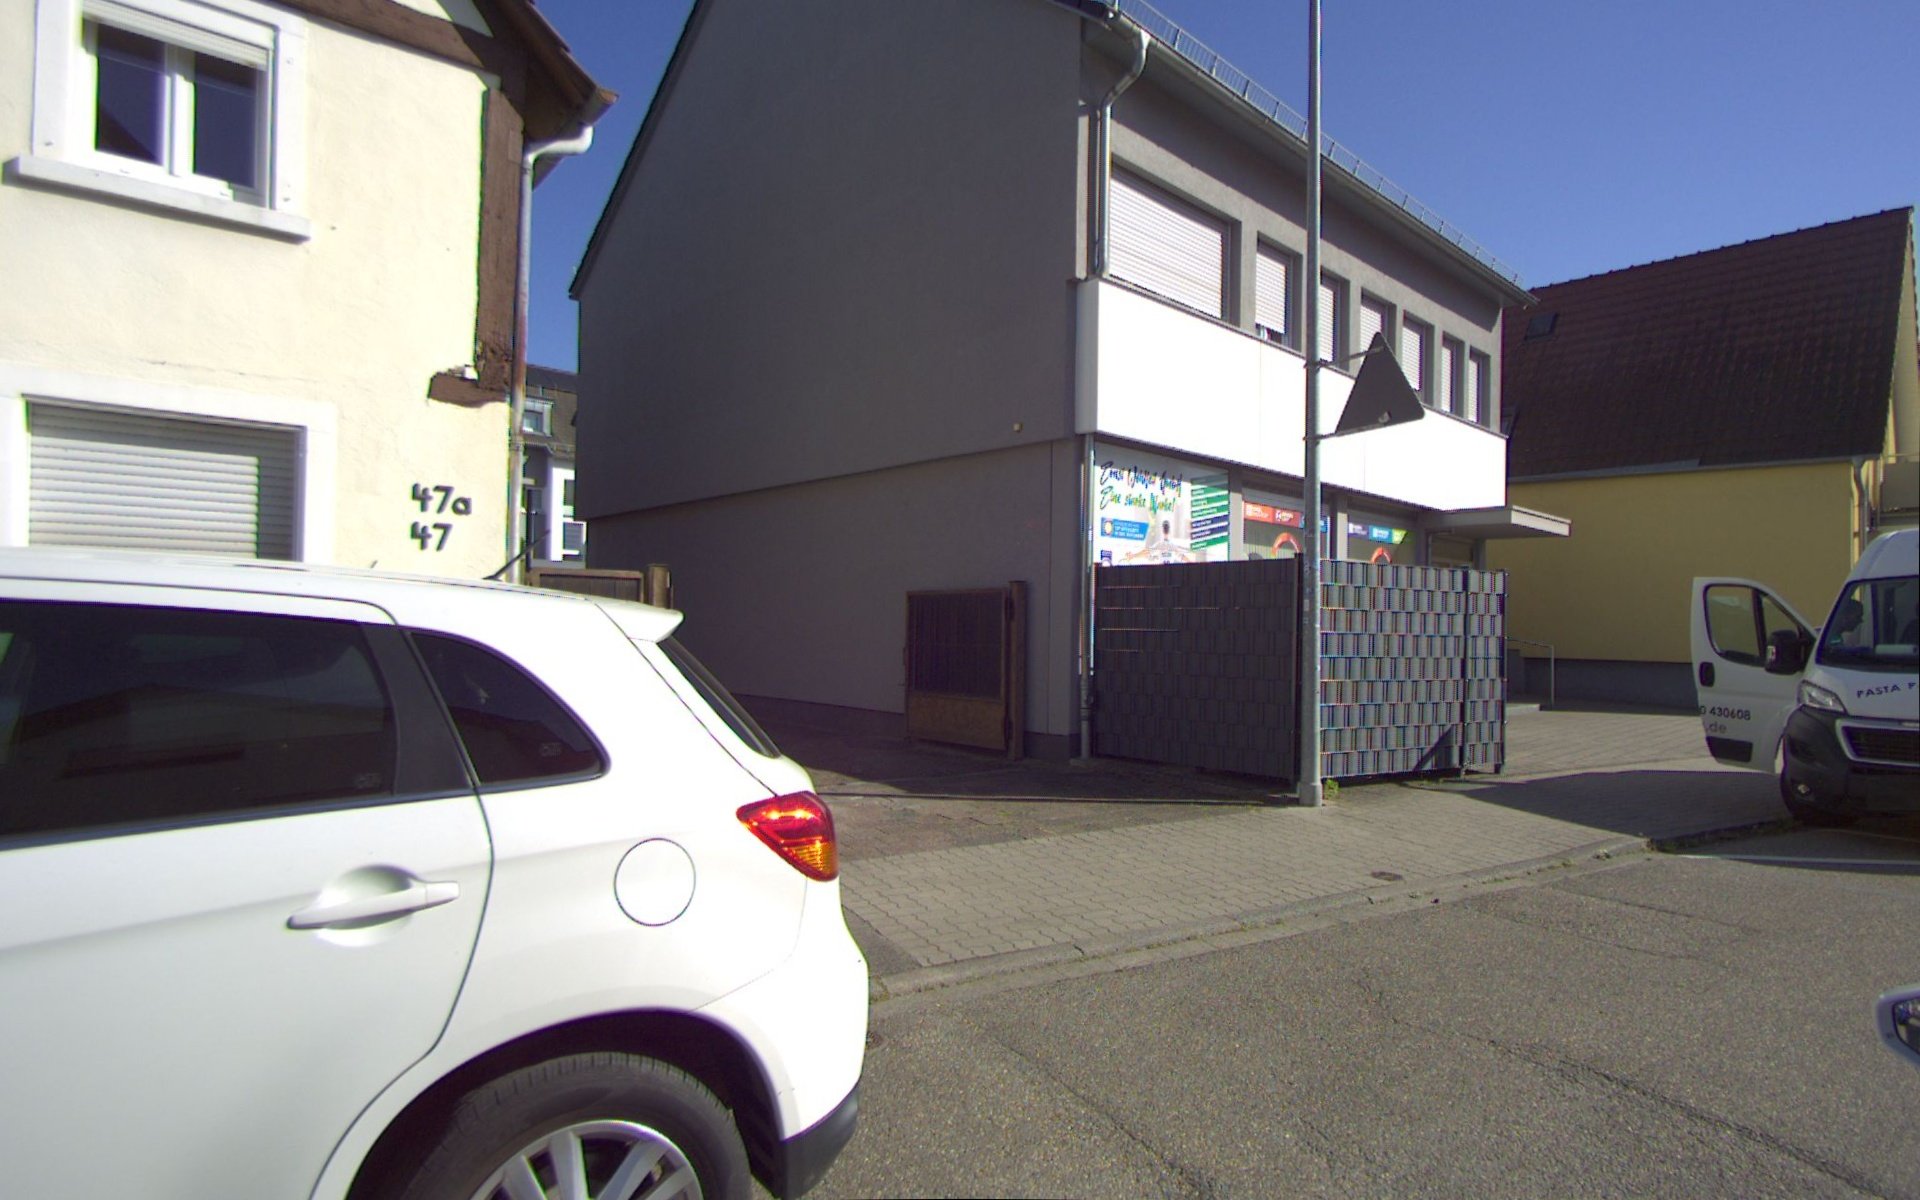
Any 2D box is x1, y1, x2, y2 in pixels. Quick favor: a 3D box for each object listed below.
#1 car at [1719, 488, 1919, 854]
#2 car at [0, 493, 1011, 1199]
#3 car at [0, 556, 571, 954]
[{"bbox_3d":[8.884,0.542,8.318,5.452,2.503,2.242,1,-2,-31],"label":"car"},{"bbox_3d":[-2.053,0.689,1.869,4.066,1.640,1.713,1,-2,-32],"label":"car"},{"bbox_3d":[-4.205,0.637,4.833,4.073,1.608,1.630,2,-1,-37],"label":"car"}]
